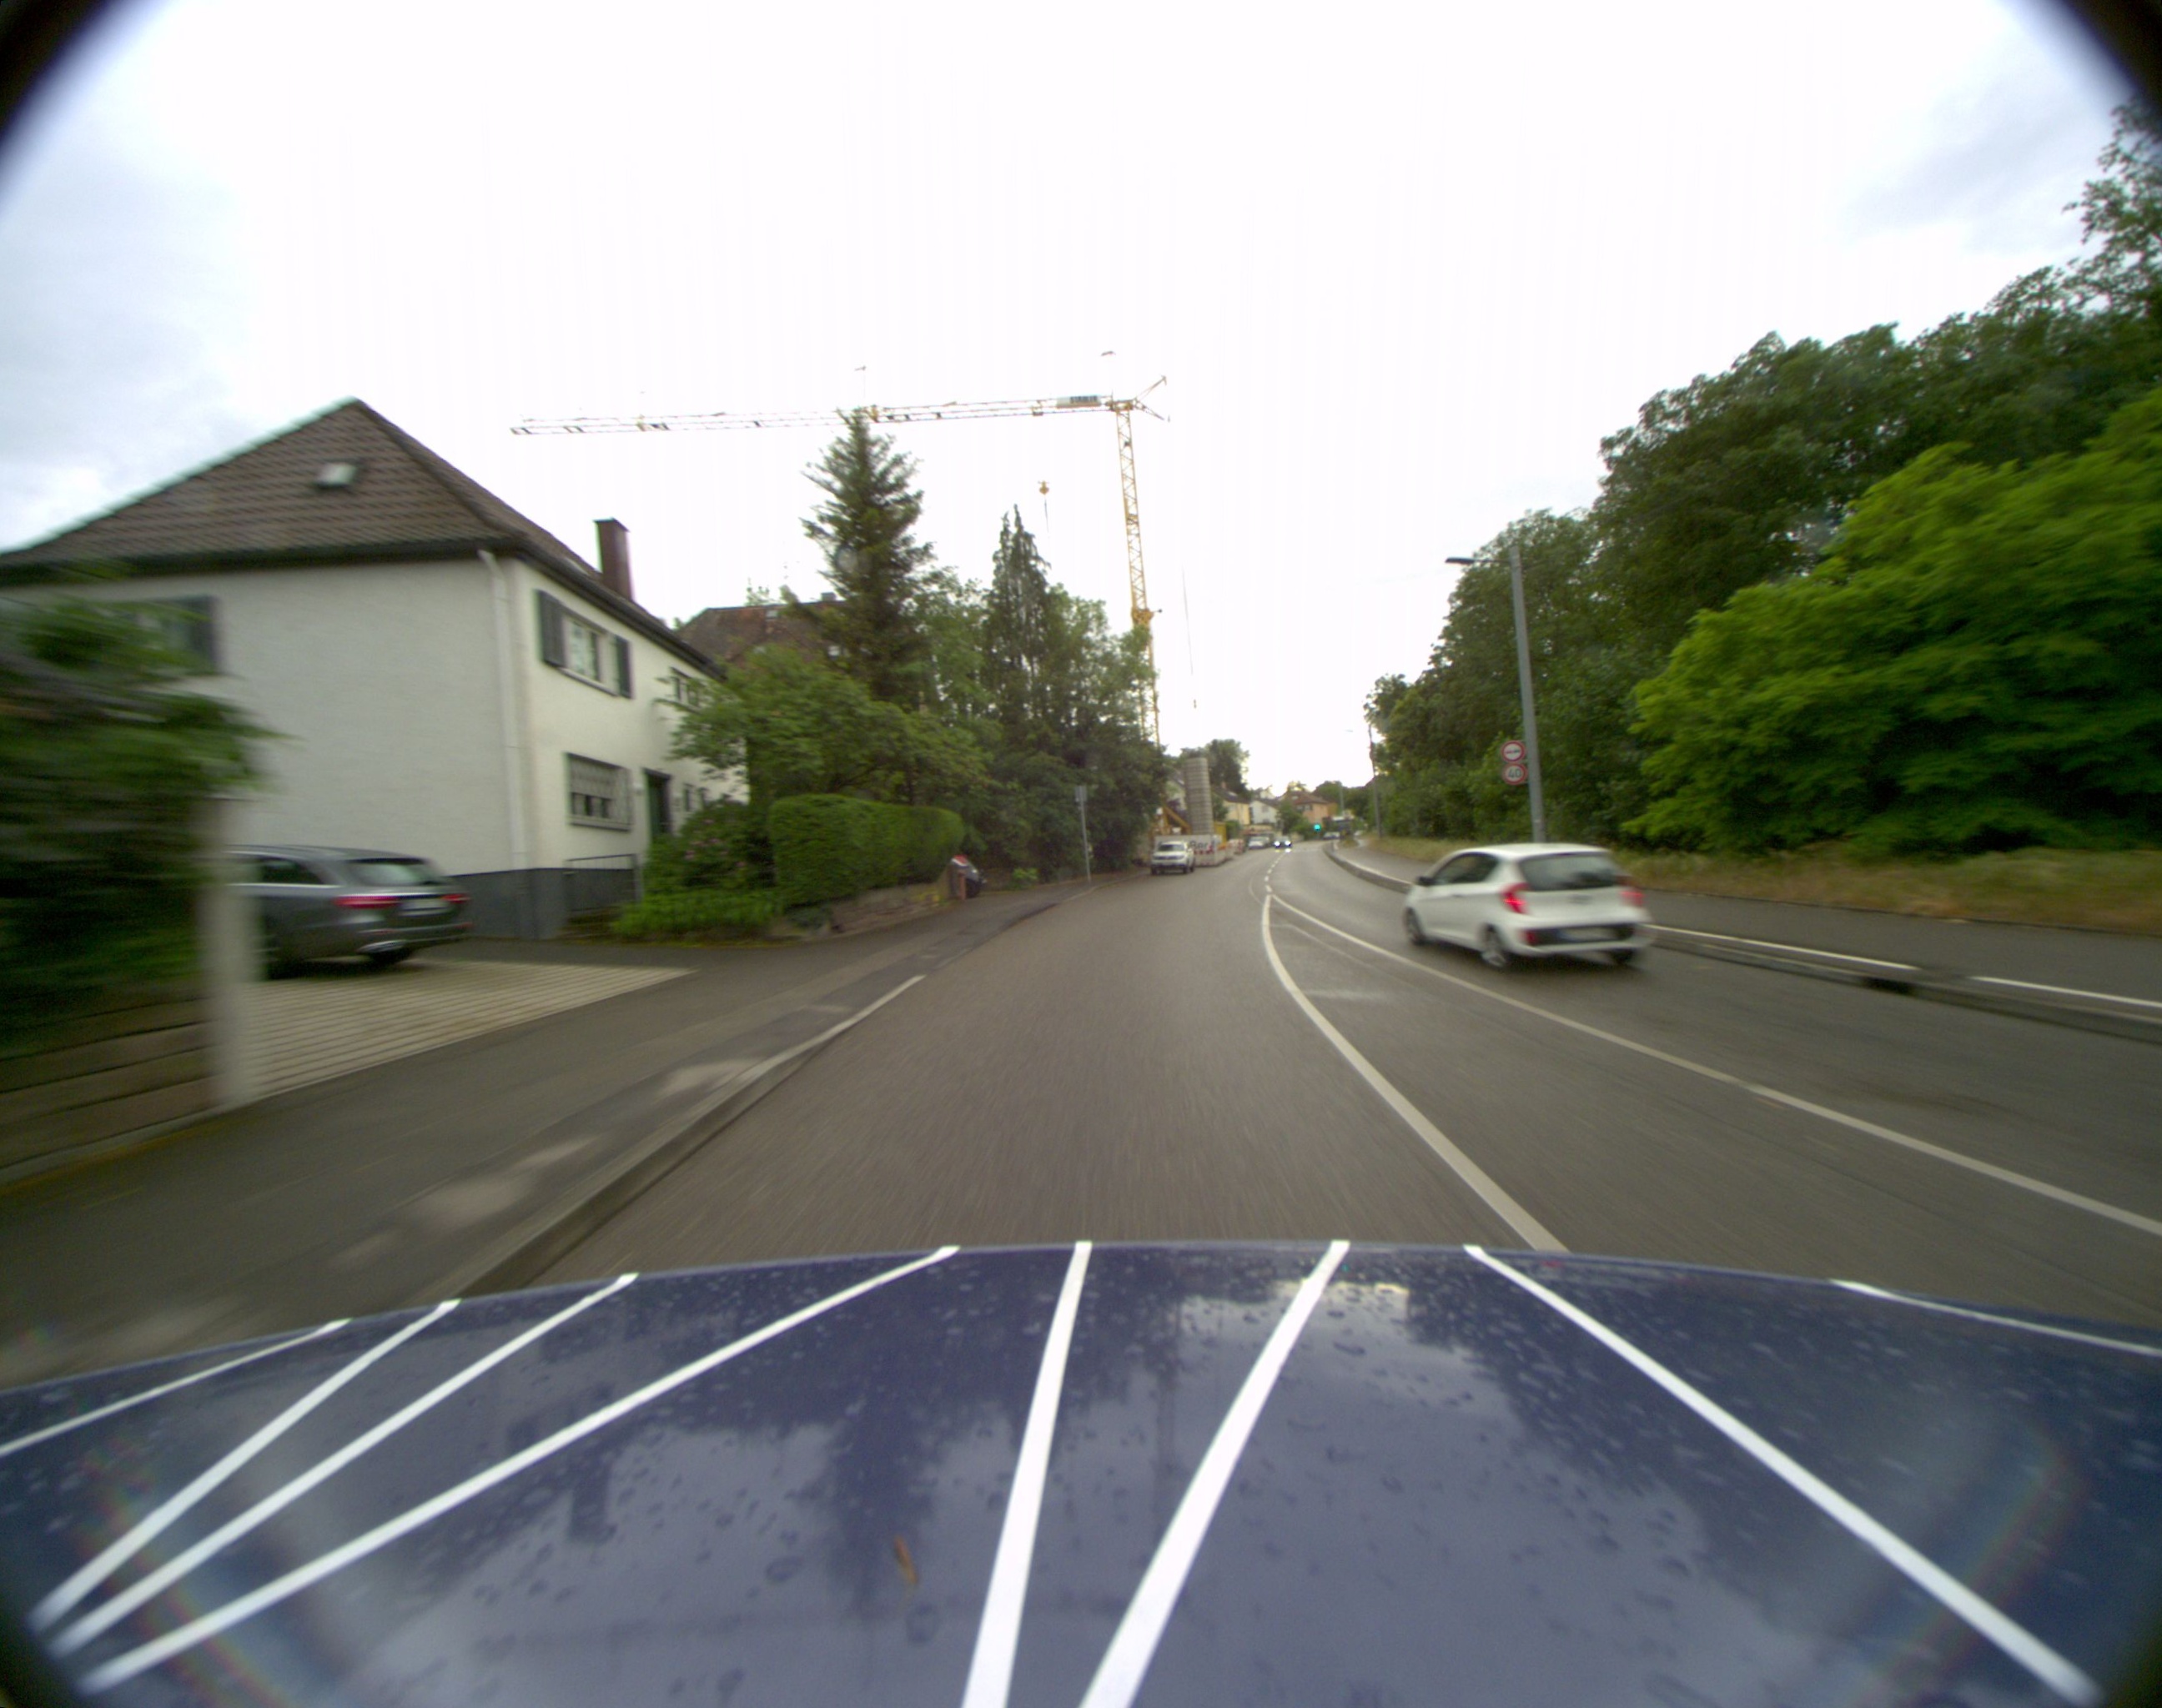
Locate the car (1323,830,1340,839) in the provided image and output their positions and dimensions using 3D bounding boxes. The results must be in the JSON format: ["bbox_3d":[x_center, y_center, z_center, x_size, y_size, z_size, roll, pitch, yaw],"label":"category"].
[{"bbox_3d":[48.224,-3.770,146.129,1.870,1.481,4.007,-1,2,36],"label":"car"}]

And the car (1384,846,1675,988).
[{"bbox_3d":[5.623,0.665,10.139,1.636,1.446,3.801,-3,1,1],"label":"car"}]

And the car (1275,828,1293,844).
[{"bbox_3d":[23.416,-2.027,87.767,1.996,1.707,4.004,-1,0,15],"label":"car"}]

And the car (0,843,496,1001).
[{"bbox_3d":[-10.005,0.727,8.894,4.647,1.513,2.000,2,-1,-2],"label":"car"}]

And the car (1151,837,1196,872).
[{"bbox_3d":[4.740,-0.013,38.423,1.829,1.586,4.003,-1,2,13],"label":"car"}]

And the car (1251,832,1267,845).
[{"bbox_3d":[21.826,-1.874,93.288,1.735,1.481,4.004,-1,1,16],"label":"car"}]

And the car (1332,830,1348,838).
[{"bbox_3d":[51.291,-3.965,150.664,1.870,1.481,4.007,-1,2,36],"label":"car"}]

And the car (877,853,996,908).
[{"bbox_3d":[-4.761,0.849,25.197,3.484,1.404,1.428,-6,1,6],"label":"car"}]
